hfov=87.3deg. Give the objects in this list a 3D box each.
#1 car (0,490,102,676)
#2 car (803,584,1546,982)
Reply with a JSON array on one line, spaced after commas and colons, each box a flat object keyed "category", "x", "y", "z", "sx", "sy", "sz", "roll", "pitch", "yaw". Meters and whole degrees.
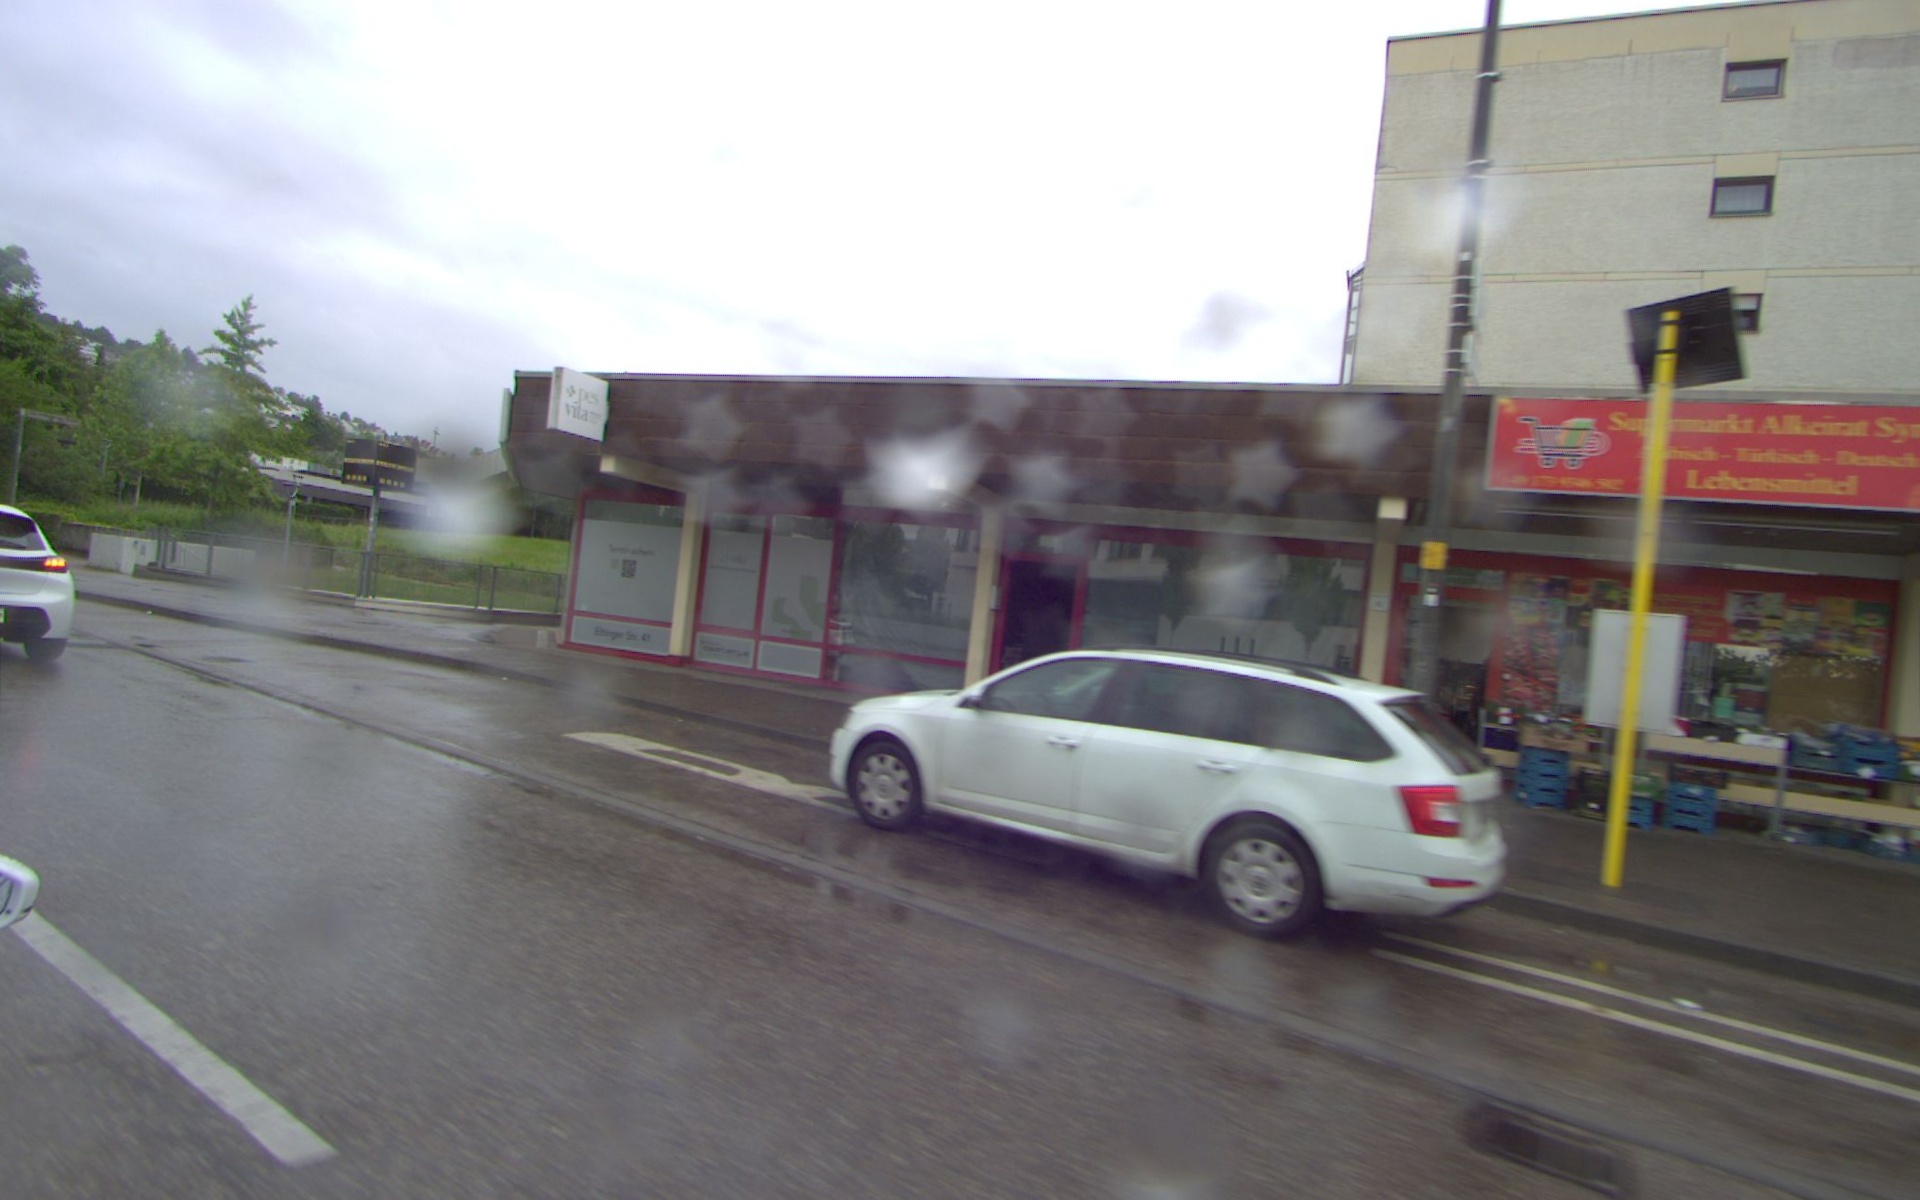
[{"category": "car", "x": -10.233, "y": -0.377, "z": 9.827, "sx": 3.868, "sy": 1.537, "sz": 1.693, "roll": 9, "pitch": 0, "yaw": 33}, {"category": "car", "x": 1.219, "y": 0.895, "z": 6.706, "sx": 4.409, "sy": 1.517, "sz": 1.730, "roll": 7, "pitch": 1, "yaw": 35}]
